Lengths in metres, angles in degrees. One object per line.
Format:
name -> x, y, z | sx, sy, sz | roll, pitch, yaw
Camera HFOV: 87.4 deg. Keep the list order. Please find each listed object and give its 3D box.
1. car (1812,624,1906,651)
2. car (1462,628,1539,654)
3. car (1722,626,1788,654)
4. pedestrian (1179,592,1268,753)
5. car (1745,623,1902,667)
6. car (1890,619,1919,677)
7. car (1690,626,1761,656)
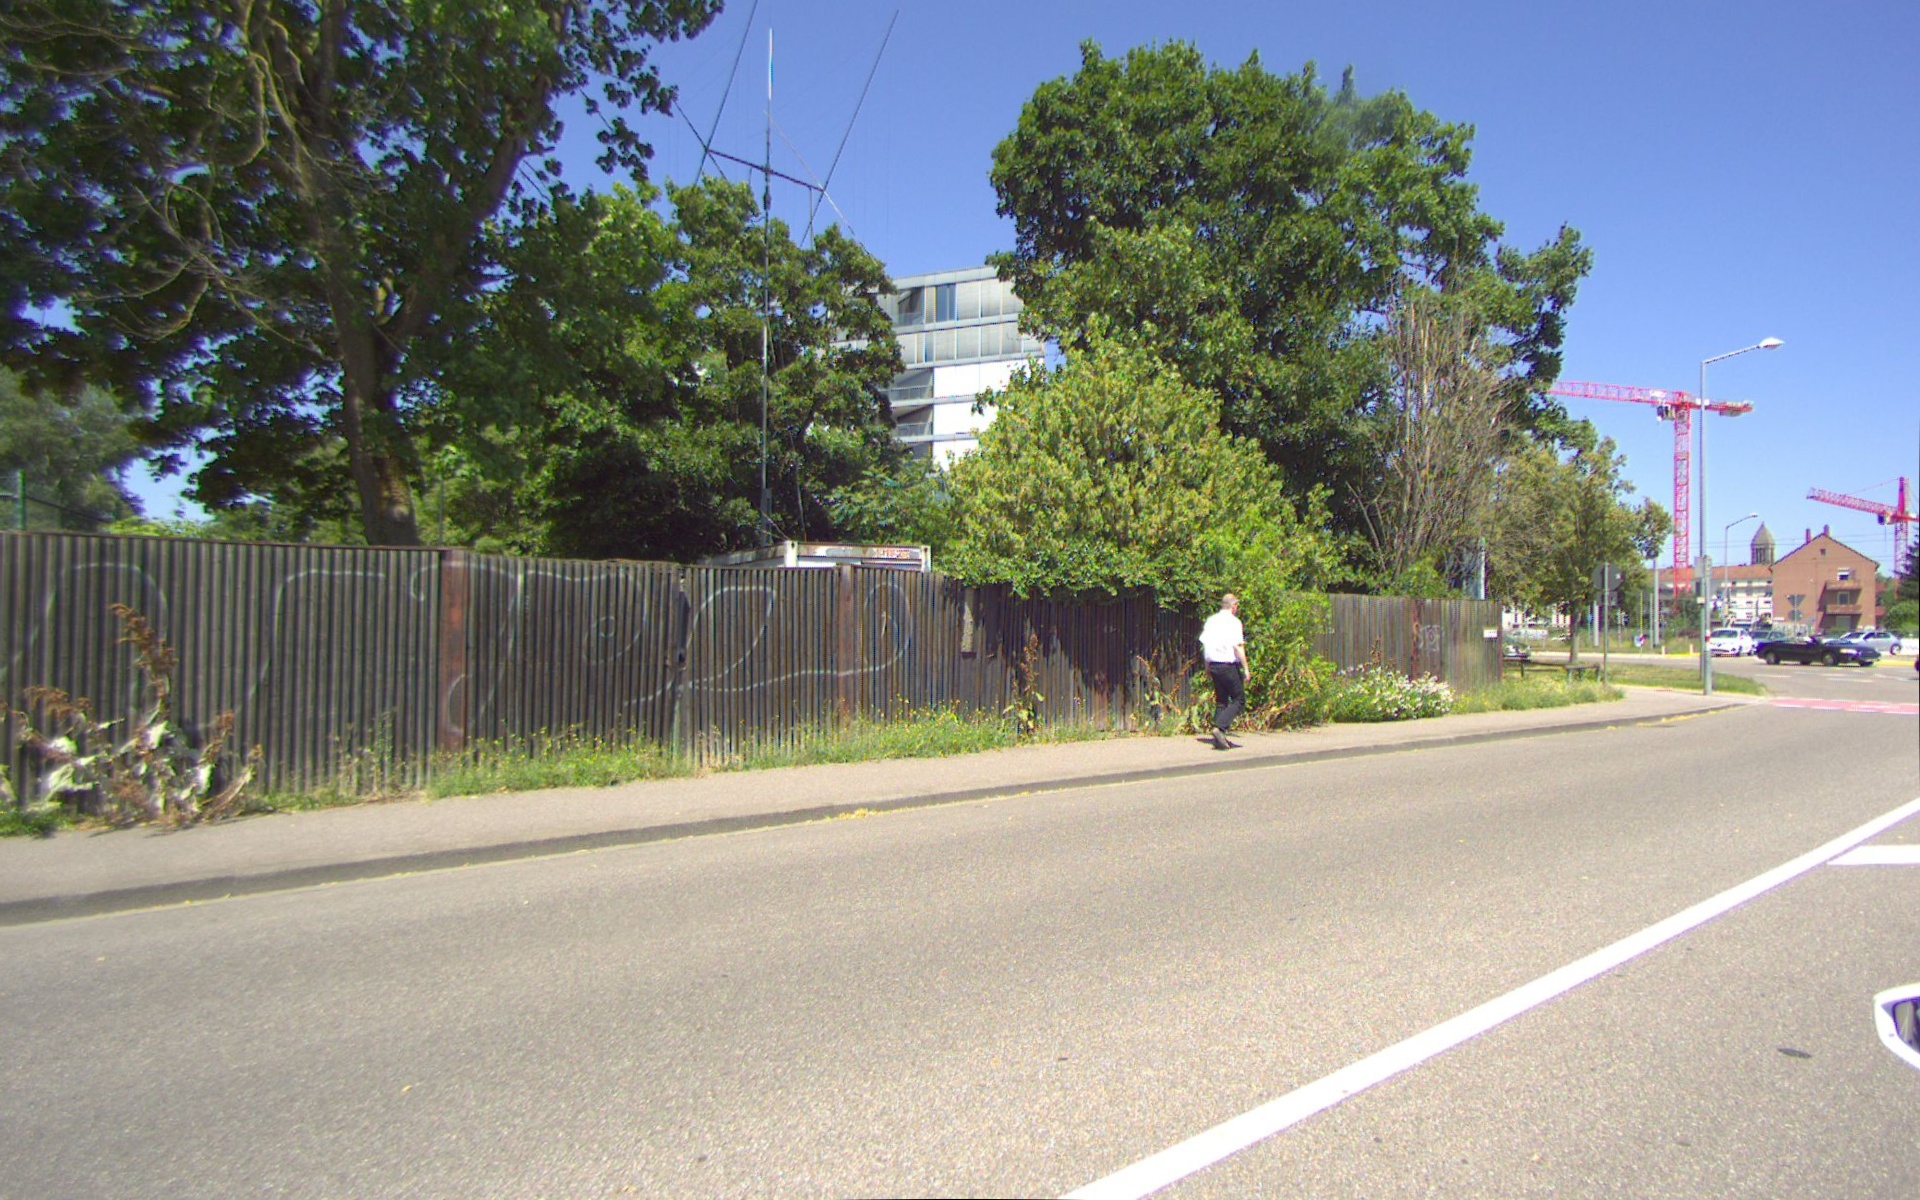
car -> 55.605, 2.315, 62.180 | 4.136, 1.520, 1.713 | 1, -1, 3
car -> 31.281, 2.349, 58.242 | 1.789, 1.334, 4.273 | 1, -1, -7
car -> 46.782, 2.371, 59.095 | 3.953, 1.570, 1.748 | 2, -1, -30
pedestrian -> 3.147, 0.841, 12.001 | 0.841, 1.849, 0.589 | 1, 0, -30
car -> 36.281, 1.856, 42.421 | 1.964, 1.678, 4.946 | 1, -1, -9
car -> 31.805, 1.555, 31.126 | 1.965, 1.840, 3.990 | 1, -1, -12
car -> 42.181, 2.232, 55.330 | 3.953, 1.570, 1.748 | 2, -1, -30
